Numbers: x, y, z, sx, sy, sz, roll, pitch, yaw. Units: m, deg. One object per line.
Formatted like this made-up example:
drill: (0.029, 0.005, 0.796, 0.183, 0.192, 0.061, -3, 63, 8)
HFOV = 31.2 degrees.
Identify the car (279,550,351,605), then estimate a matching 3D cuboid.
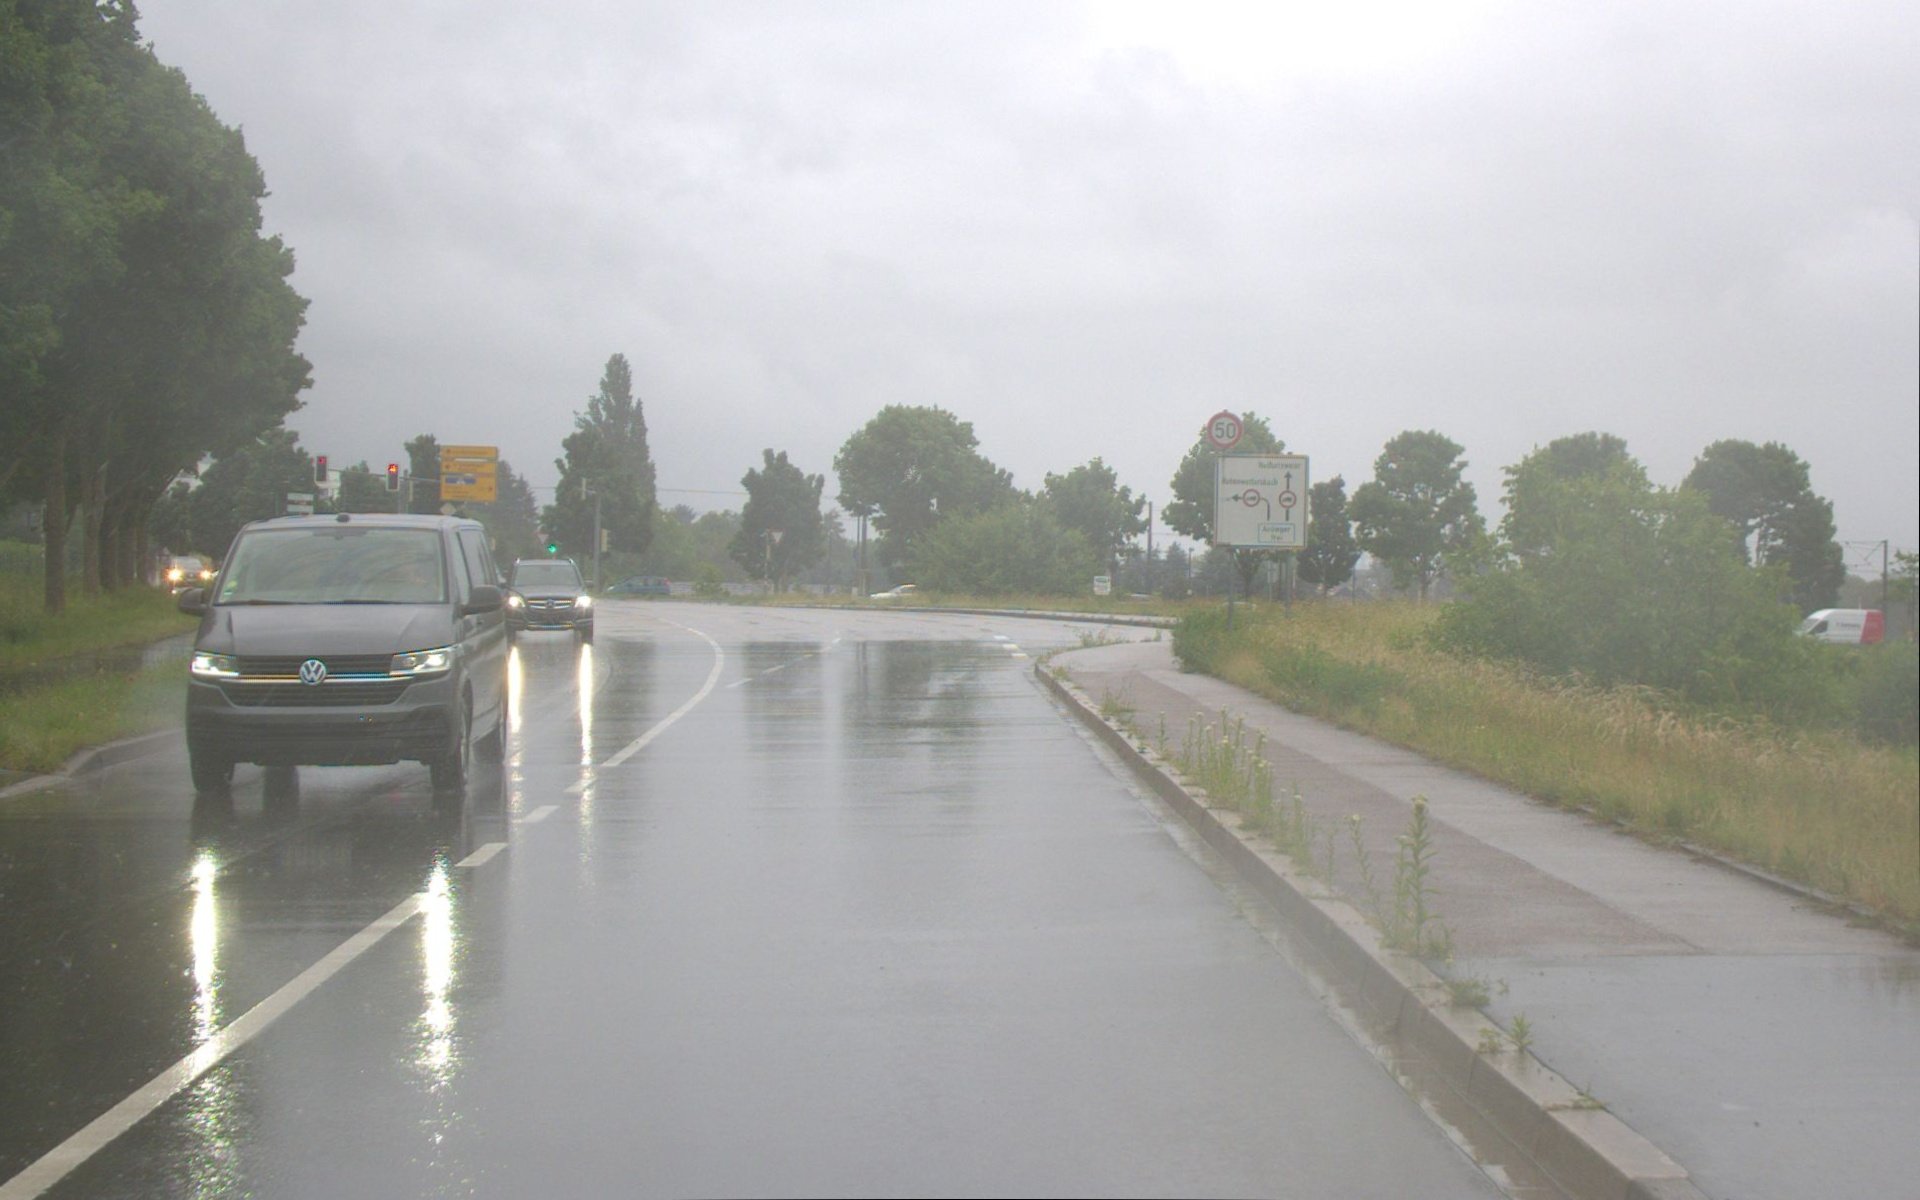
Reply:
car: (-26.300, -0.940, 140.126, 1.993, 2.007, 4.001, 4, 0, -22)

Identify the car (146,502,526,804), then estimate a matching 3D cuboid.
car: (-4.408, 0.320, 25.049, 1.993, 1.966, 4.957, -1, 1, -2)

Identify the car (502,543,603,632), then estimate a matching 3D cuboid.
car: (-8.418, -0.273, 70.824, 1.904, 1.715, 4.001, -2, 1, -8)
